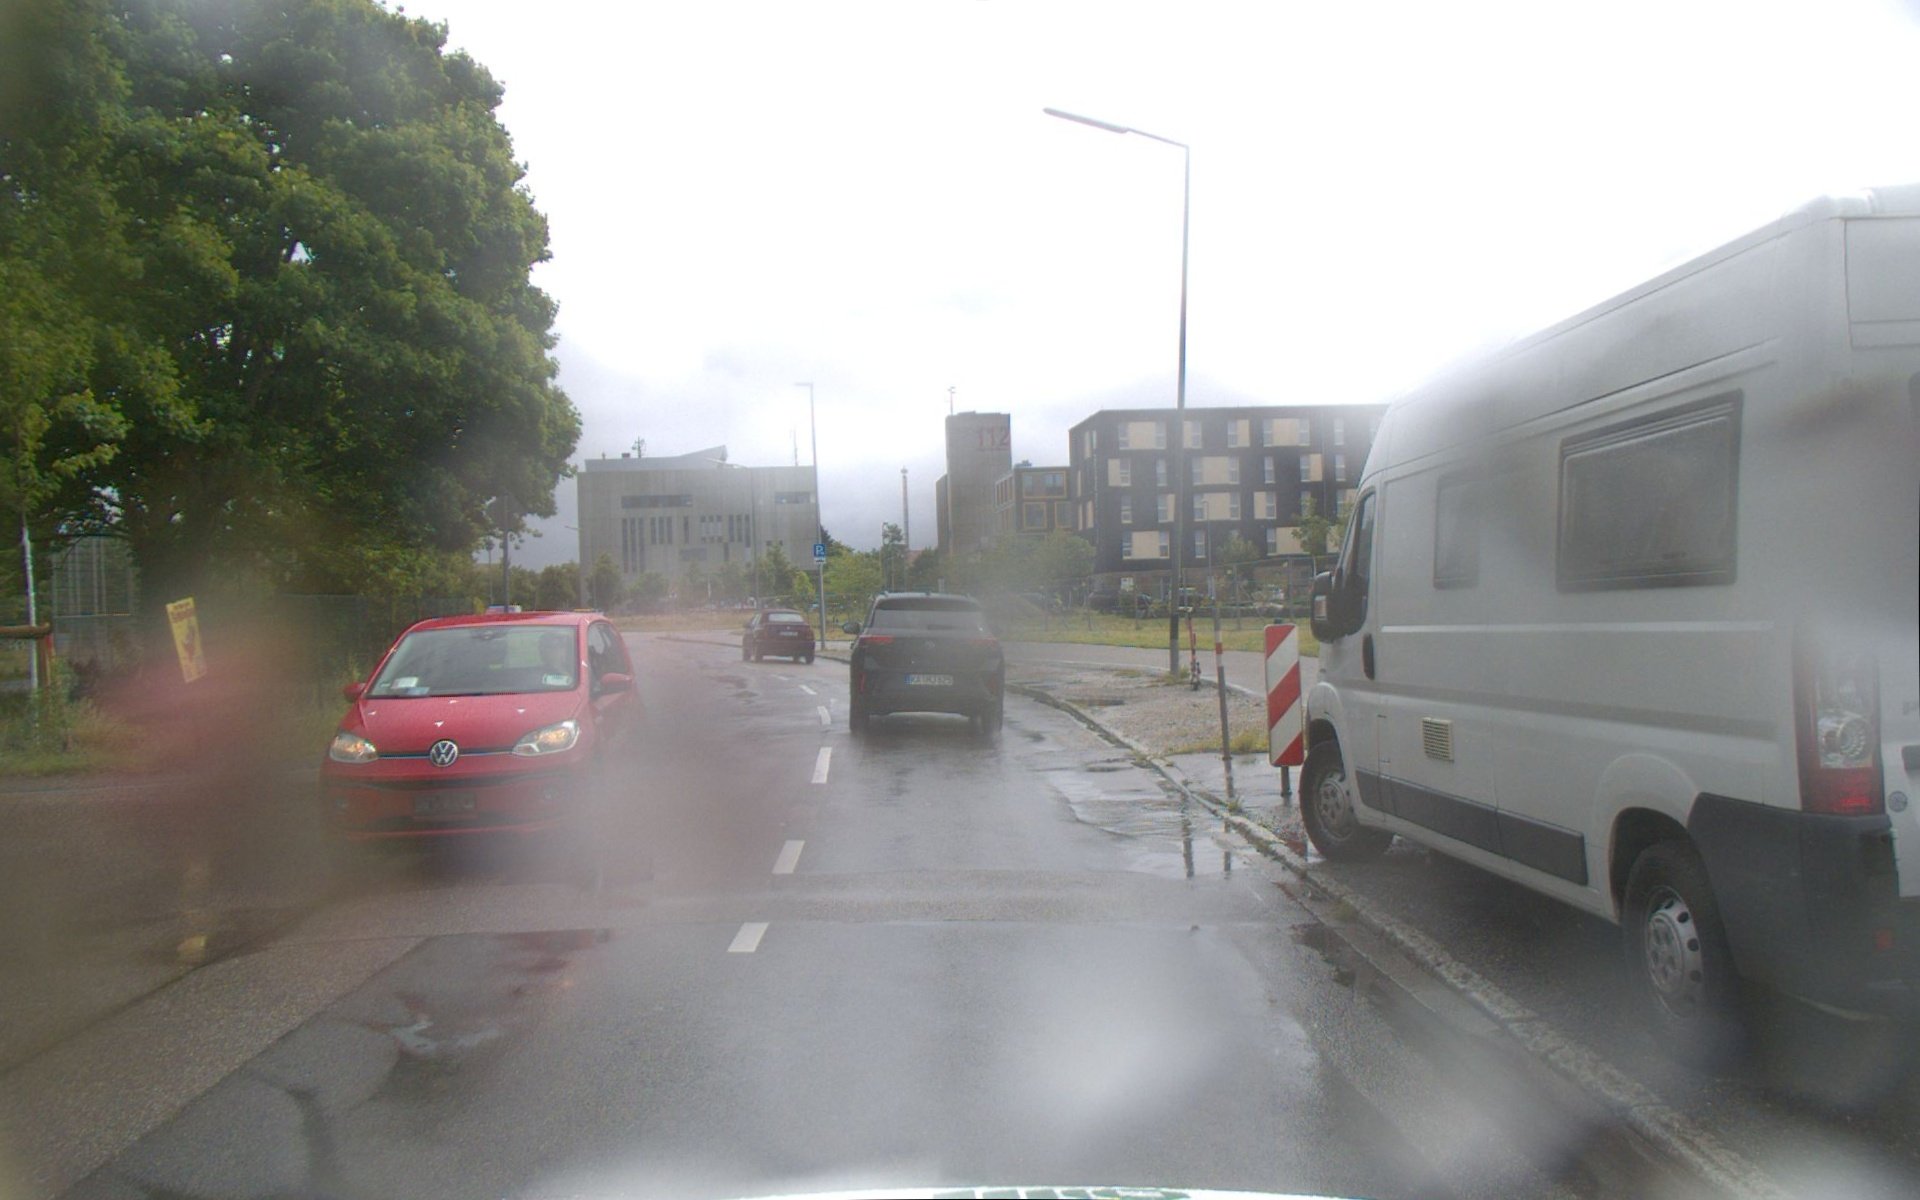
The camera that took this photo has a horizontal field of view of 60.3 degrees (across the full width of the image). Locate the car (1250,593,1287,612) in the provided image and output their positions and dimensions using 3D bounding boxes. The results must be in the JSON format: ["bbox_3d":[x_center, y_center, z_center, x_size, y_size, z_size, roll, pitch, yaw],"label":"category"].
[{"bbox_3d":[24.260,0.193,130.289,1.729,1.420,3.801,1,0,-8],"label":"car"}]

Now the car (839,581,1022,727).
[{"bbox_3d":[-0.395,0.594,19.728,1.947,1.547,3.998,1,0,-3],"label":"car"}]

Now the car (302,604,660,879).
[{"bbox_3d":[-3.026,0.806,11.108,1.625,1.494,3.386,-2,0,-5],"label":"car"}]

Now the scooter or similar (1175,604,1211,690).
[{"bbox_3d":[3.506,0.695,24.965,0.480,1.236,1.341,-2,0,7],"label":"scooter or similar"}]

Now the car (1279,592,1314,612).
[{"bbox_3d":[26.547,0.166,130.561,1.607,1.421,3.775,0,-1,-7],"label":"car"}]

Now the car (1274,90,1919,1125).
[{"bbox_3d":[3.048,-0.023,7.046,2.050,2.515,5.946,-4,0,-1],"label":"car"}]

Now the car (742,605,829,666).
[{"bbox_3d":[-4.900,0.961,45.982,1.811,1.467,3.986,-5,1,-14],"label":"car"}]
